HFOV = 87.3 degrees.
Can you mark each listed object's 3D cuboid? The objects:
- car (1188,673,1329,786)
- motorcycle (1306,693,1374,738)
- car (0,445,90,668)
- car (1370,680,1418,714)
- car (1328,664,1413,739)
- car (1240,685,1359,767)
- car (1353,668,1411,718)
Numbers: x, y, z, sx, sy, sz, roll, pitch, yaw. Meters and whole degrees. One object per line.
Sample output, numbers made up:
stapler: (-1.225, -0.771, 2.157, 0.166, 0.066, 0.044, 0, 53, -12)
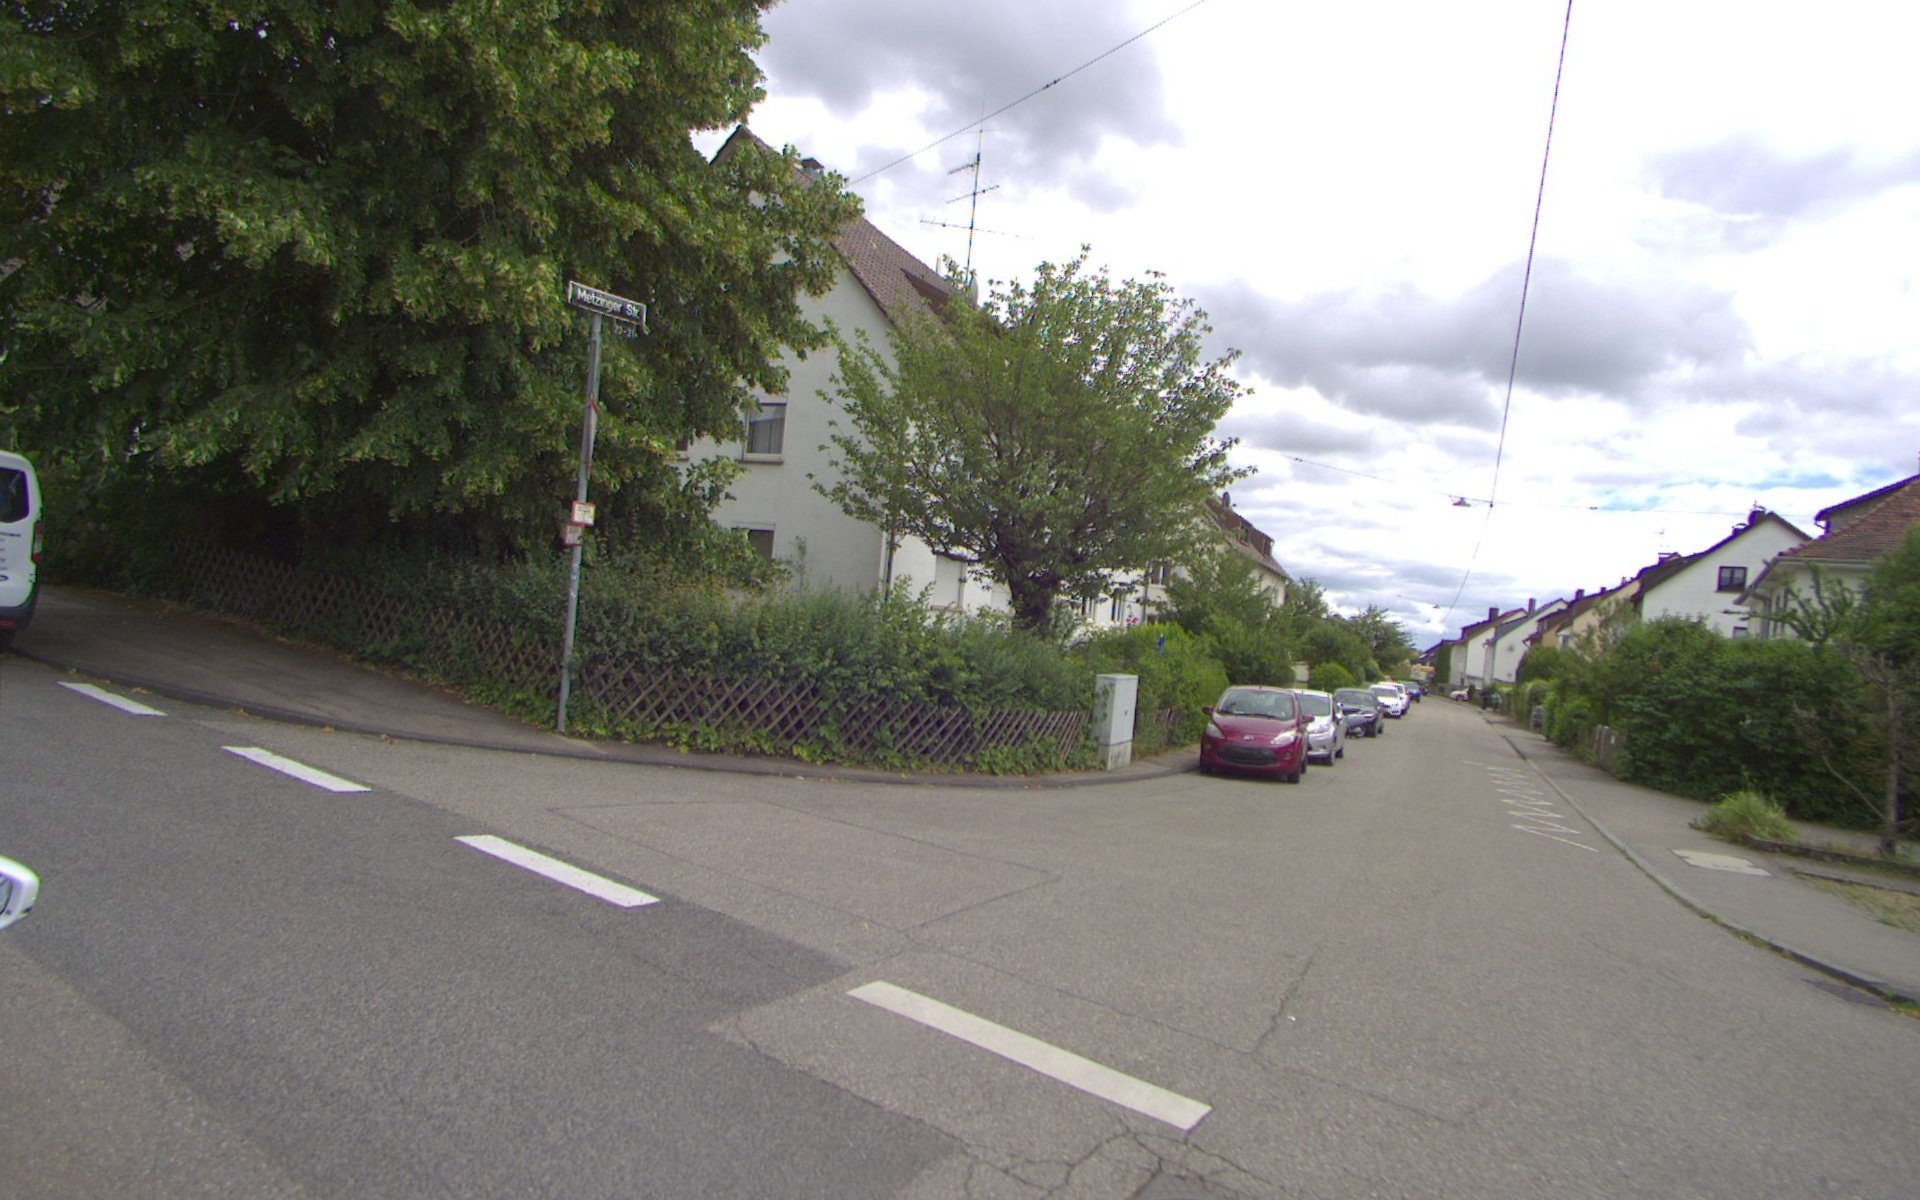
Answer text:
car: (5.254, 2.165, 17.371, 1.658, 1.581, 3.708, 4, -3, 26)
motorcycle: (11.368, 3.454, 30.101, 1.787, 1.151, 0.536, 6, 0, -8)
car: (-9.906, -0.673, 8.643, 4.238, 1.794, 1.845, 8, -1, 23)
car: (23.312, 5.220, 53.963, 1.751, 1.529, 3.995, 7, -1, 30)
car: (13.311, 3.261, 32.487, 1.966, 2.037, 3.997, 6, -2, 28)
car: (7.396, 2.654, 21.685, 1.812, 1.385, 3.738, 5, -2, 27)
car: (20.419, 4.502, 48.624, 1.966, 2.037, 3.996, 7, -1, 29)
